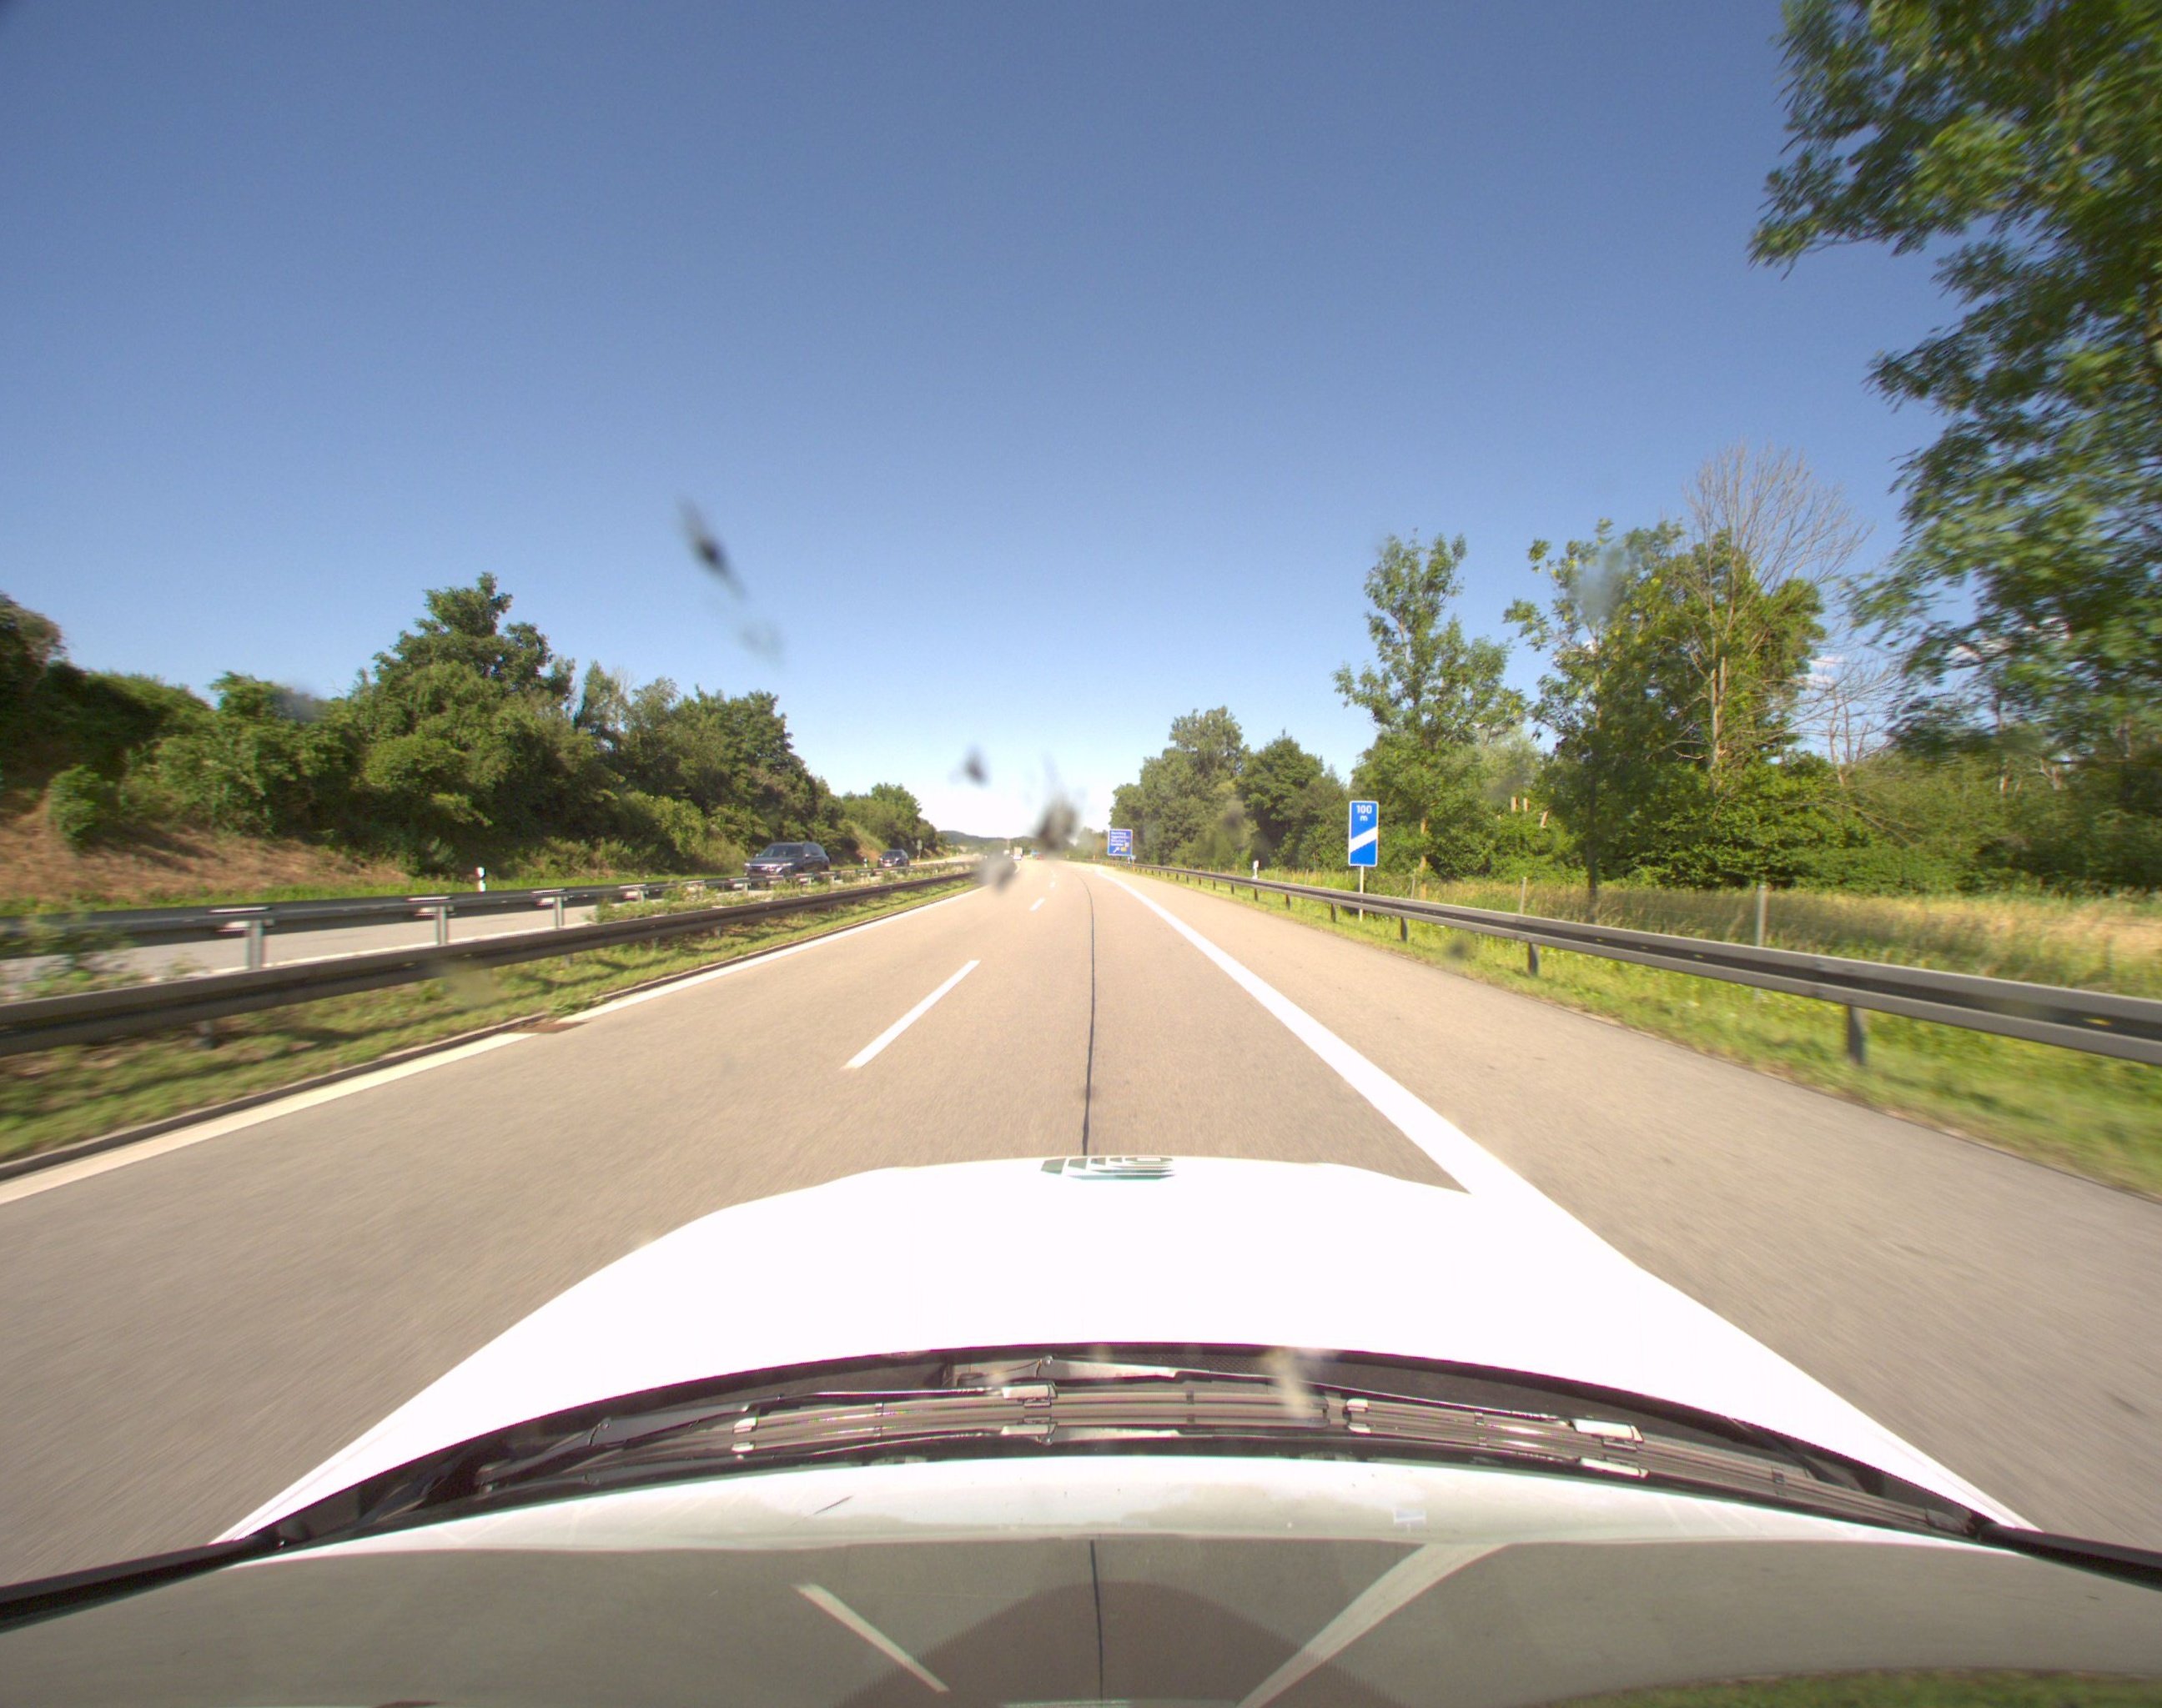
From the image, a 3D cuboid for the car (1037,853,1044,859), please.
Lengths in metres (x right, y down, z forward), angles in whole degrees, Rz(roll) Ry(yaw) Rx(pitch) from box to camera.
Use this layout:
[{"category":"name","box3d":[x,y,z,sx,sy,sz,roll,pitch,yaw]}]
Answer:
[{"category":"car","box3d":[-10.600,0.521,213.976,1.779,1.431,3.998,5,-1,-1]}]

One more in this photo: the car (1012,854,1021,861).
[{"category":"car","box3d":[-15.622,0.892,196.941,2.060,1.625,3.990,1,-2,-7]}]

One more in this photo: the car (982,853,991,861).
[{"category":"car","box3d":[-20.092,0.663,174.037,1.641,1.455,4.901,0,-1,-3]}]

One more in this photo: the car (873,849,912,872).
[{"category":"car","box3d":[-14.219,0.457,61.744,1.988,1.651,4.431,-1,0,-2]}]

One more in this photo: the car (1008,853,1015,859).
[{"category":"car","box3d":[-20.520,0.634,240.709,1.992,1.750,3.990,1,0,-7]}]

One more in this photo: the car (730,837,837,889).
[{"category":"car","box3d":[-10.770,0.298,29.930,2.061,1.679,4.887,-2,0,0]}]
